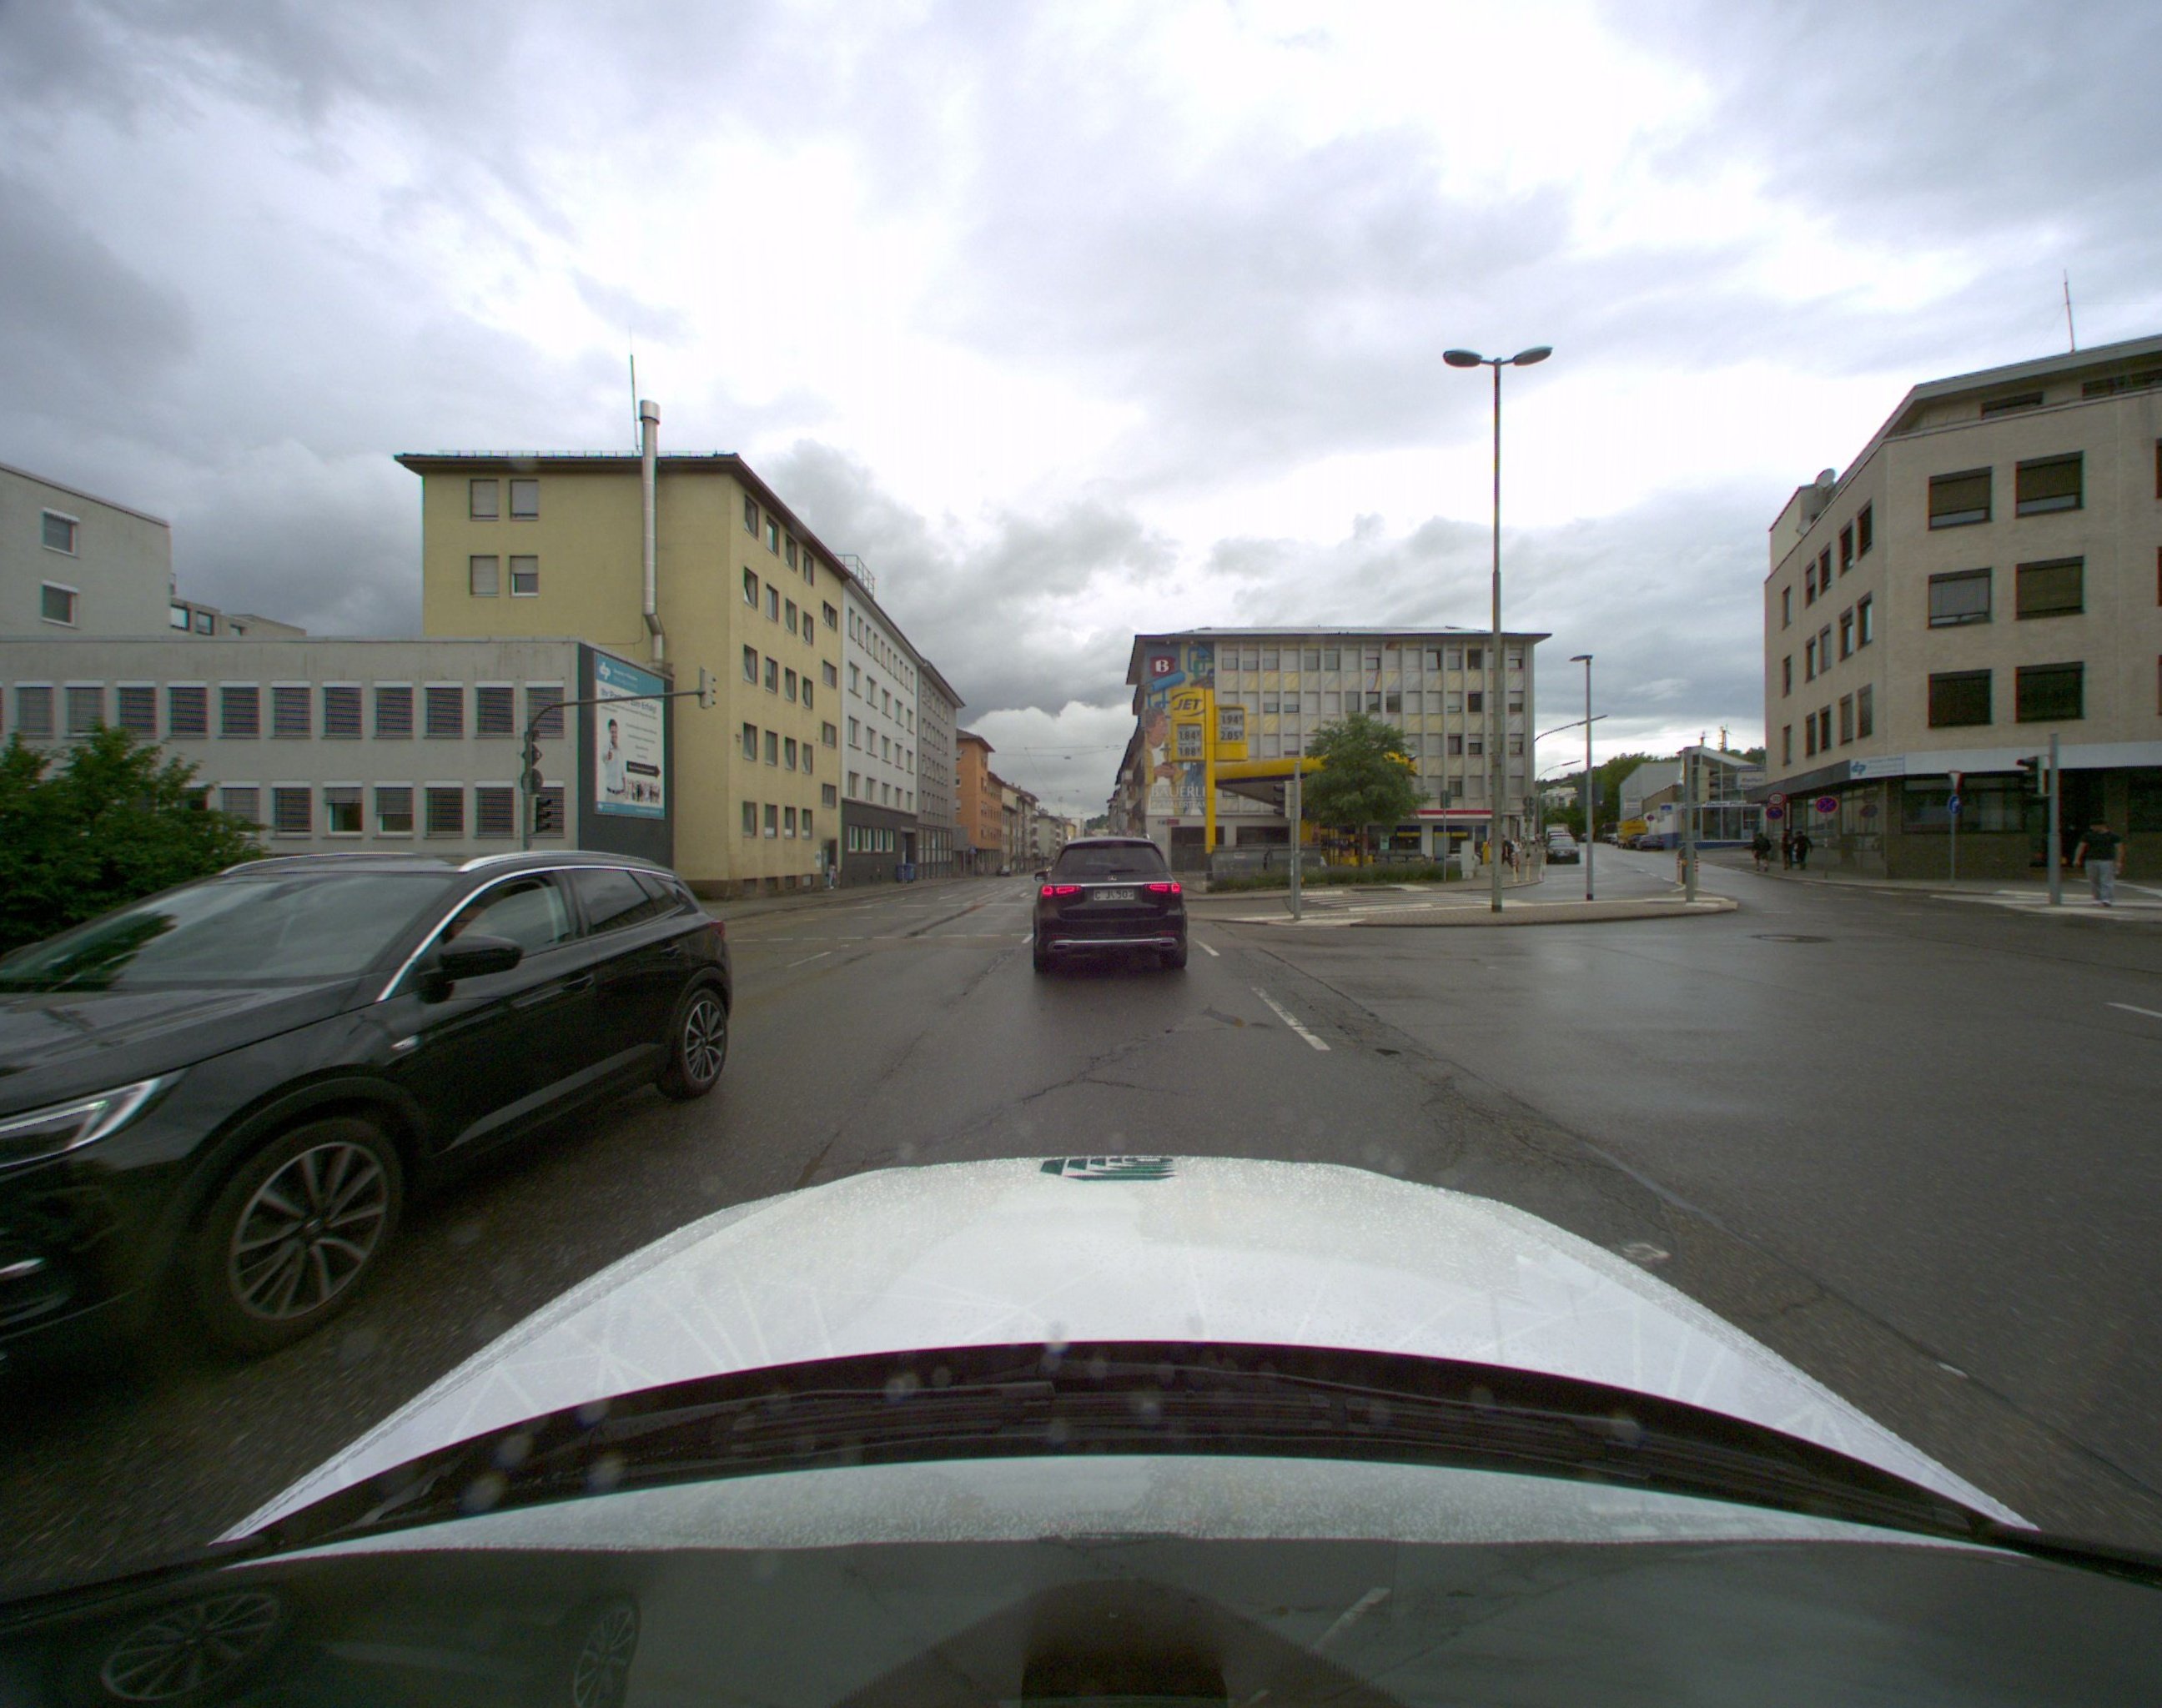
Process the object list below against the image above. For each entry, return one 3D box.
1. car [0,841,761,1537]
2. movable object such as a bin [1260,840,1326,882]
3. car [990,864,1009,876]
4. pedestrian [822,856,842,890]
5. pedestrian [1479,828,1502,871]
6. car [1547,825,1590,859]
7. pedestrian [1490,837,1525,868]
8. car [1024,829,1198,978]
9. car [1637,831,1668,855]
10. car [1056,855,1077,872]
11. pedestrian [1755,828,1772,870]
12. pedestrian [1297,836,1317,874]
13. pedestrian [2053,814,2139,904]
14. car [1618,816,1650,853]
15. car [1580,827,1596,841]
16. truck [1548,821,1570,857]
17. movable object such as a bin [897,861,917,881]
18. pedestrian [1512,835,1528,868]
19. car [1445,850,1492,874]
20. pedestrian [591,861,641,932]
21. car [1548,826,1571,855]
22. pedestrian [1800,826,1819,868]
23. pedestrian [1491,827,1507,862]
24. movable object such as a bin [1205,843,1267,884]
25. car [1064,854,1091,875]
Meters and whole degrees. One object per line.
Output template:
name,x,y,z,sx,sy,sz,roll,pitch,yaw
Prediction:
car,-3.328,0.782,3.867,1.801,1.594,4.296,-1,0,1
movable object such as a bin,8.490,0.285,32.766,2.148,1.555,1.773,-2,-1,1
car,-10.210,1.961,102.179,1.886,1.458,4.547,1,0,-1
pedestrian,-12.742,0.978,41.628,0.714,1.689,0.811,1,-1,2
pedestrian,24.552,-0.259,48.852,0.998,2.567,1.153,1,-1,15
car,28.265,-0.668,47.318,1.975,1.865,4.608,1,-1,29
pedestrian,19.074,-0.075,36.432,0.922,1.353,1.100,2,-1,-40
car,0.384,0.601,12.159,2.069,1.765,4.611,1,0,0
car,50.897,-0.925,72.626,1.974,2.014,4.025,1,-1,31
car,-1.465,0.959,83.793,2.069,1.650,4.295,1,0,0
pedestrian,29.051,-0.215,34.675,0.473,1.742,0.578,1,-1,30
pedestrian,9.587,0.030,34.559,0.662,1.585,0.847,1,-1,3
pedestrian,20.976,0.103,16.839,0.854,1.791,0.773,1,-1,-4
car,57.801,-2.001,85.231,2.354,3.688,5.025,1,-1,30
car,78.517,-3.079,126.131,1.974,2.014,4.025,1,-1,31
truck,54.808,-1.689,93.421,1.975,3.914,5.518,1,-1,29
movable object such as a bin,-12.003,1.174,56.161,1.072,1.324,1.190,1,-1,0
pedestrian,20.382,-0.132,37.838,0.578,1.515,0.474,2,-1,-40
car,26.351,0.596,55.315,1.974,1.516,4.446,-3,-3,37
pedestrian,-11.415,1.029,20.009,0.714,1.689,0.811,1,-1,2
car,51.166,-1.437,87.115,1.975,2.973,4.608,1,-1,29
pedestrian,30.059,-0.283,33.596,0.473,1.742,0.578,1,-1,30
pedestrian,21.526,-0.486,41.922,0.671,1.758,0.736,1,-1,23
movable object such as a bin,6.192,0.371,32.769,2.148,1.574,1.773,-1,-1,1
car,-0.231,0.814,65.127,2.069,1.650,4.295,1,0,0
